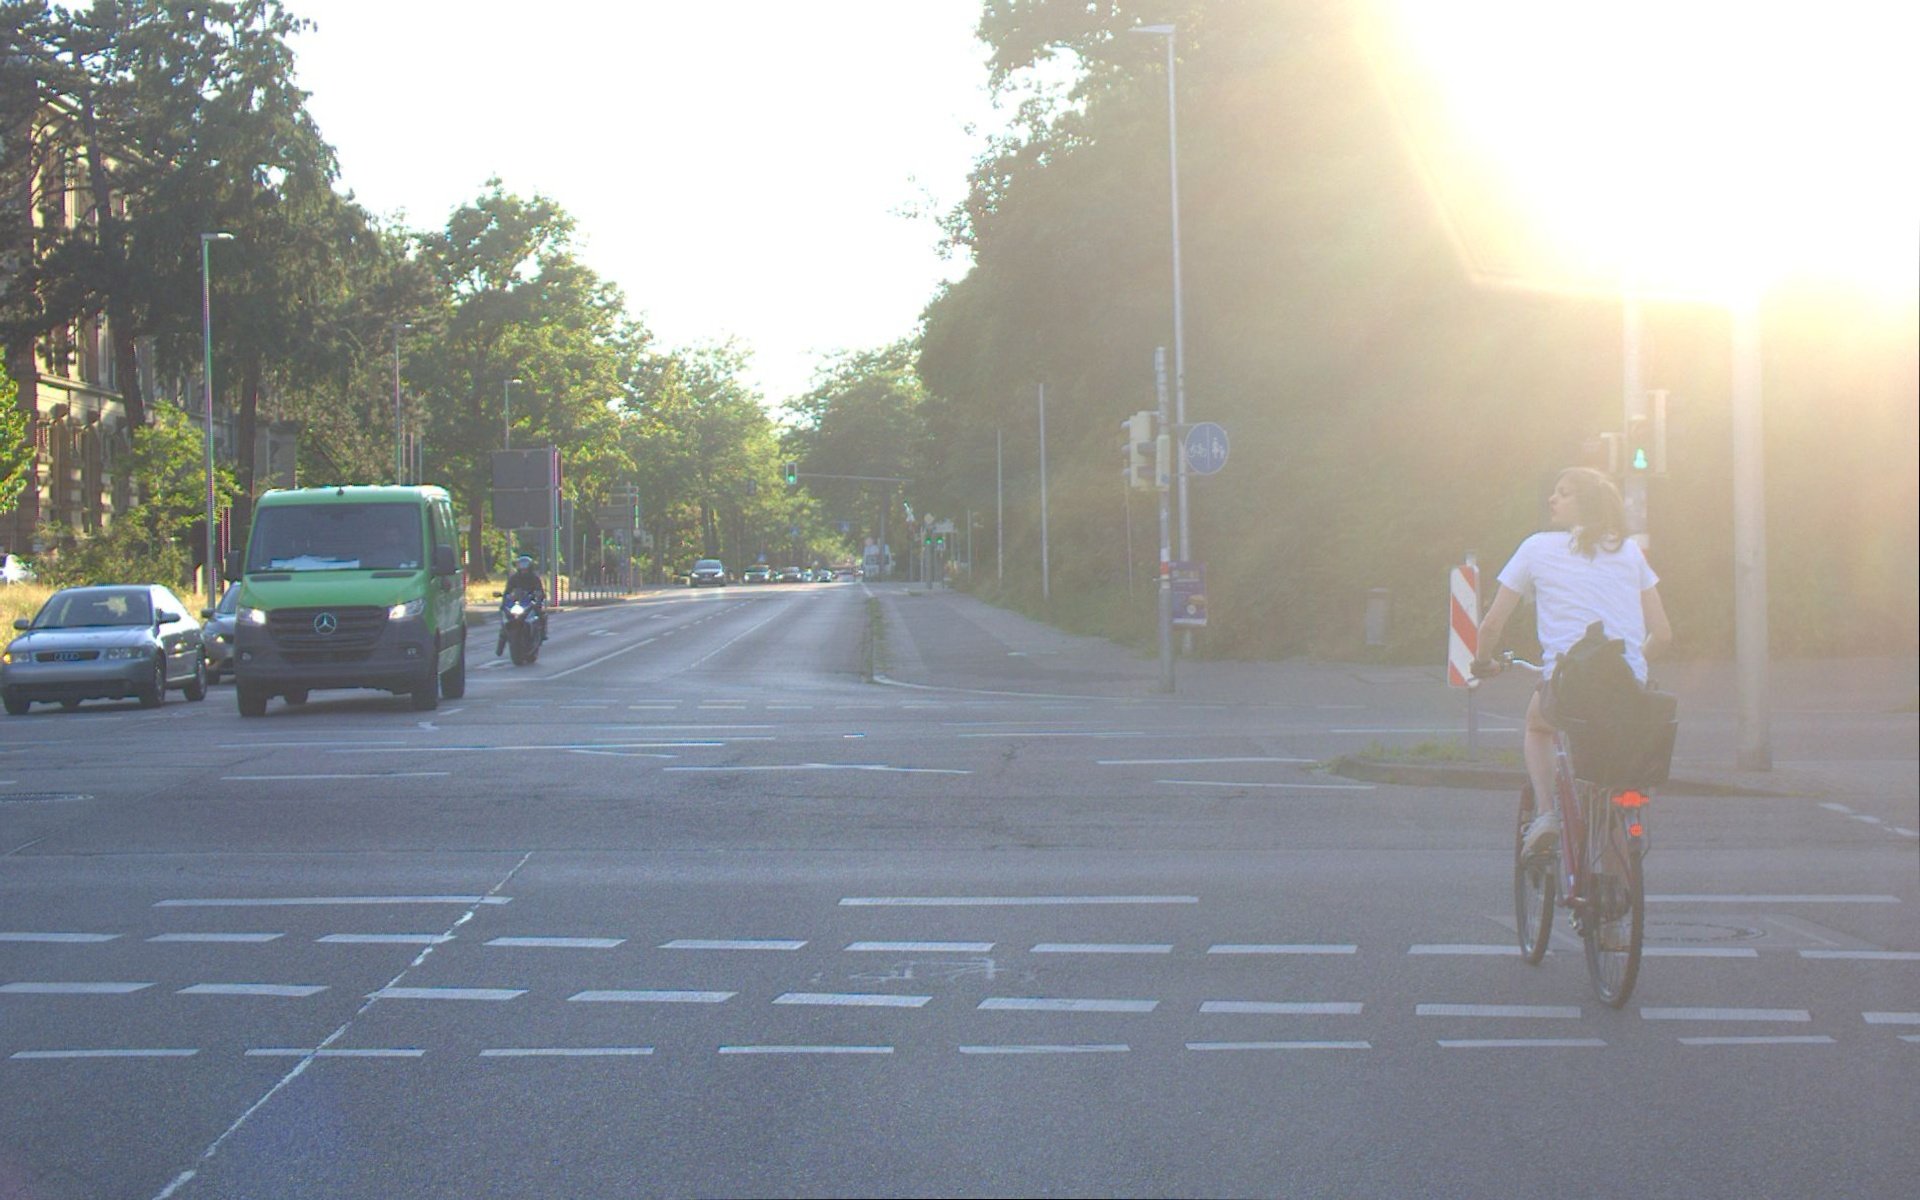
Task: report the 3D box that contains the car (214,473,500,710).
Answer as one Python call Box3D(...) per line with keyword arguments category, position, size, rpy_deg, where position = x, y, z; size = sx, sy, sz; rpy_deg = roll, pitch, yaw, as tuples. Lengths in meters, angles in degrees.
Box3D(category="car", position=(-6.270, -0.114, 36.440), size=(2.038, 2.270, 5.941), rpy_deg=(-1, 1, -1))

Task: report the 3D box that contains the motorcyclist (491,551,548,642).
Box3D(category="motorcyclist", position=(-6.645, -0.051, 51.873), size=(0.749, 1.353, 0.704), rpy_deg=(-1, 0, -1))

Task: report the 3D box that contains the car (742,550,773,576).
Box3D(category="car", position=(-13.492, -2.468, 229.401), size=(1.993, 1.634, 4.001), rpy_deg=(-1, 1, -4))

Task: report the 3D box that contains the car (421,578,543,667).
Box3D(category="car", position=(-9.274, 0.403, 66.967), size=(1.764, 1.630, 4.513), rpy_deg=(-1, 1, 0))

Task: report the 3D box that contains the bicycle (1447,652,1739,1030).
Box3D(category="bicycle", position=(2.112, 0.769, 11.686), size=(0.613, 1.134, 1.884), rpy_deg=(0, 1, -1))

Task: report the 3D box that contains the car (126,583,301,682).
Box3D(category="car", position=(-10.699, 0.439, 49.503), size=(1.764, 1.323, 3.643), rpy_deg=(-1, 1, -1))

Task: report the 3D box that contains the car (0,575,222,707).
Box3D(category="car", position=(-9.787, 0.430, 39.600), size=(1.730, 1.404, 4.140), rpy_deg=(-1, 1, -1))

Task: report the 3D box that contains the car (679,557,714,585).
Box3D(category="car", position=(-14.036, -1.553, 183.032), size=(1.770, 1.469, 3.776), rpy_deg=(-1, 1, -5))

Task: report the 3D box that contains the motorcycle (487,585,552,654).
Box3D(category="motorcycle", position=(-6.637, 0.286, 51.918), size=(0.754, 0.998, 1.879), rpy_deg=(-1, 1, -1))

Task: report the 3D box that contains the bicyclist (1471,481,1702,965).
Box3D(category="bicyclist", position=(2.112, 0.397, 11.670), size=(0.603, 1.580, 0.910), rpy_deg=(0, 0, -1))
